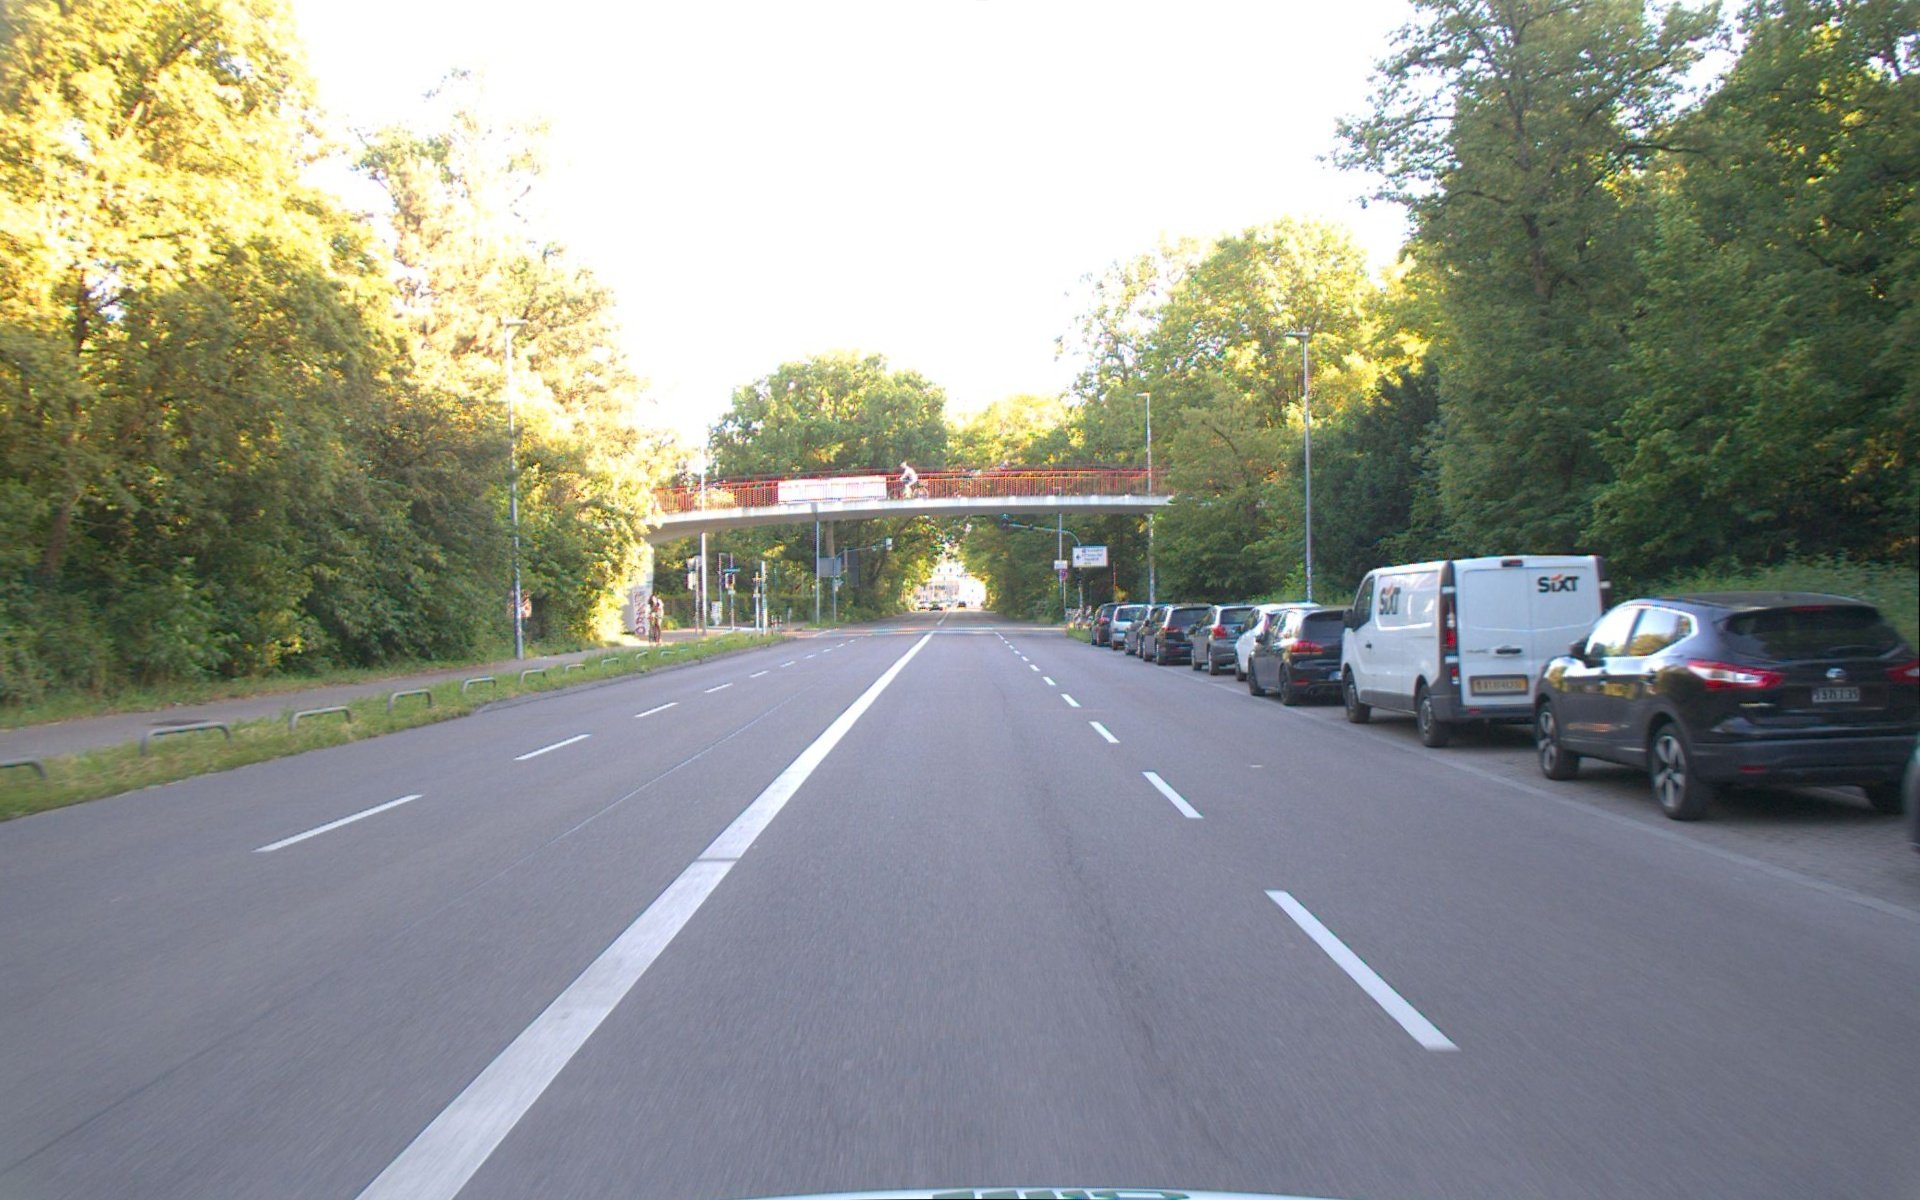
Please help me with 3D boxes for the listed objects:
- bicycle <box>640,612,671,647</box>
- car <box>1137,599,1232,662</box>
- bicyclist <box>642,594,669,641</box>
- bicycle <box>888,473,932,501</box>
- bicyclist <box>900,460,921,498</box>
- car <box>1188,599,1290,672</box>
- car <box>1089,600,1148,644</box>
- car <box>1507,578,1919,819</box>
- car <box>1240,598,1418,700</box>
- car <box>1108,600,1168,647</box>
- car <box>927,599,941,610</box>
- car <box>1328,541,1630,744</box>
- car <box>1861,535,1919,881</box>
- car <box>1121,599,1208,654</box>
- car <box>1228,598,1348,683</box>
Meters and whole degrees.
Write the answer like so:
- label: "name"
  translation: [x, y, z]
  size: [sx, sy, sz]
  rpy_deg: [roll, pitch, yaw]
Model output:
- label: "bicycle"
  translation: [-10.421, 0.997, 56.623]
  size: [0.697, 1.167, 1.993]
  rpy_deg: [1, -1, 0]
- label: "car"
  translation: [5.676, 0.749, 42.356]
  size: [1.604, 1.479, 4.896]
  rpy_deg: [-1, 0, -2]
- label: "bicyclist"
  translation: [-10.410, 0.595, 56.626]
  size: [0.697, 1.586, 1.142]
  rpy_deg: [1, -1, 0]
- label: "bicycle"
  translation: [-2.233, -5.064, 74.068]
  size: [1.947, 1.167, 0.714]
  rpy_deg: [1, -1, -2]
- label: "bicyclist"
  translation: [-2.217, -5.421, 74.072]
  size: [0.950, 1.614, 0.714]
  rpy_deg: [1, -1, -2]
- label: "car"
  translation: [6.009, 0.737, 35.995]
  size: [1.553, 1.479, 3.943]
  rpy_deg: [-1, 0, 1]
- label: "car"
  translation: [5.677, 0.771, 59.691]
  size: [1.738, 1.479, 4.388]
  rpy_deg: [-1, 0, 1]
- label: "car"
  translation: [5.986, 0.660, 13.256]
  size: [1.723, 1.574, 4.428]
  rpy_deg: [-1, 0, 0]
- label: "car"
  translation: [5.721, 0.717, 26.170]
  size: [1.830, 1.431, 4.369]
  rpy_deg: [-1, 0, 0]
- label: "car"
  translation: [5.908, 0.764, 55.282]
  size: [1.737, 1.479, 4.015]
  rpy_deg: [-1, 0, 3]
- label: "car"
  translation: [-3.756, 0.606, 239.256]
  size: [1.849, 1.533, 4.363]
  rpy_deg: [-1, 0, -1]
- label: "car"
  translation: [5.895, 0.444, 19.582]
  size: [1.830, 2.016, 5.474]
  rpy_deg: [-1, 0, 0]
- label: "car"
  translation: [5.998, 0.545, 6.942]
  size: [1.723, 1.836, 4.736]
  rpy_deg: [-1, 0, -2]
- label: "car"
  translation: [5.838, 0.743, 47.792]
  size: [1.738, 1.479, 5.036]
  rpy_deg: [-1, 0, -2]
- label: "car"
  translation: [6.146, 0.734, 31.342]
  size: [1.553, 1.479, 3.798]
  rpy_deg: [-1, 0, 1]
